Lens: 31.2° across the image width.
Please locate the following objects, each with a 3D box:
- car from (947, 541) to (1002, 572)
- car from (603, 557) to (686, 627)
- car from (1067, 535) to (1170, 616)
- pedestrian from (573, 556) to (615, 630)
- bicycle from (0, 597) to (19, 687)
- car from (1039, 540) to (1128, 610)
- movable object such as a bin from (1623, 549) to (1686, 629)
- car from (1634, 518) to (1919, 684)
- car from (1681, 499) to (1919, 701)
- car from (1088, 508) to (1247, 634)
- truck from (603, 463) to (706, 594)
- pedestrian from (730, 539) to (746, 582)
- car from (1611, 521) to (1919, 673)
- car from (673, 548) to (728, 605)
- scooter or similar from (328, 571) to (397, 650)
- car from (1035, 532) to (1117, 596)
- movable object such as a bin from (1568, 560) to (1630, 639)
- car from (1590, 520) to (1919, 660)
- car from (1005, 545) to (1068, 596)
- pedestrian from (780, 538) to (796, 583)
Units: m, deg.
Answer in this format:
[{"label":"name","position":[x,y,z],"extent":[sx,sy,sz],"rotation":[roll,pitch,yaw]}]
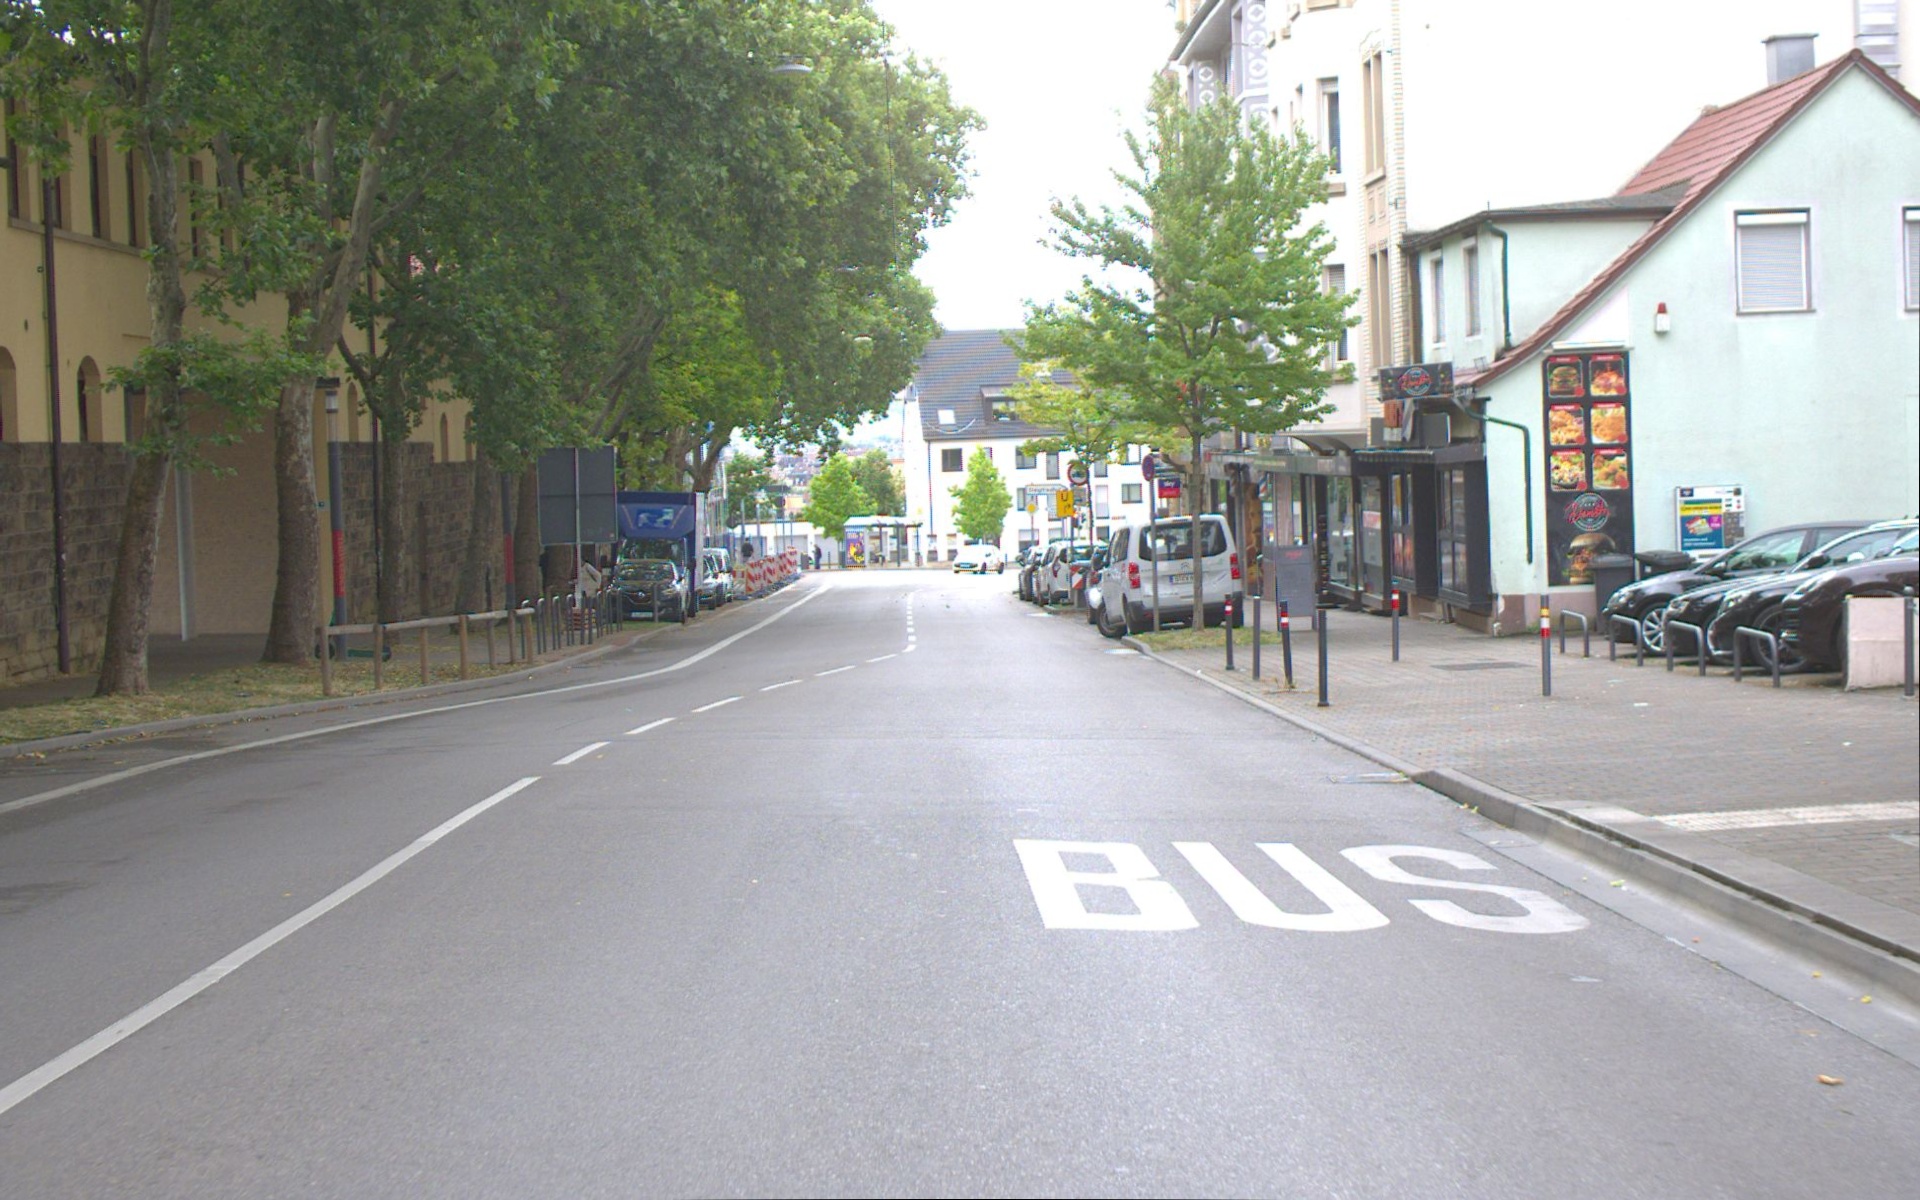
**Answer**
[{"label":"car","position":[0.741,-2.227,175.143],"extent":[1.865,1.484,3.877],"rotation":[-1,1,14]},{"label":"car","position":[-7.596,-0.213,83.037],"extent":[1.834,1.572,3.757],"rotation":[-2,1,-3]},{"label":"car","position":[3.191,-0.520,69.830],"extent":[1.668,1.542,3.757],"rotation":[-2,1,-3]},{"label":"pedestrian","position":[-7.700,-0.147,72.347],"extent":[0.672,1.531,0.611],"rotation":[-2,1,-26]},{"label":"bicycle","position":[-12.156,0.529,42.146],"extent":[0.596,1.087,2.195],"rotation":[1,1,1]},{"label":"car","position":[2.852,-0.604,80.017],"extent":[1.668,1.542,3.757],"rotation":[-2,1,-3]},{"label":"movable object such as a bin","position":[9.363,-0.153,46.341],"extent":[0.698,1.038,0.645],"rotation":[-2,1,1]},{"label":"car","position":[9.209,-0.019,33.163],"extent":[4.910,1.535,1.997],"rotation":[-1,1,28]},{"label":"car","position":[9.123,-0.095,30.466],"extent":[4.909,1.667,1.997],"rotation":[-3,1,27]},{"label":"car","position":[3.364,-0.509,56.634],"extent":[1.993,1.929,4.920],"rotation":[-2,1,-3]},{"label":"truck","position":[-8.173,-1.922,92.622],"extent":[2.231,3.335,7.450],"rotation":[-2,1,-2]},{"label":"pedestrian","position":[-10.483,-1.876,162.394],"extent":[0.633,1.988,0.784],"rotation":[-2,1,1]},{"label":"car","position":[9.412,-0.057,35.650],"extent":[4.909,1.488,1.853],"rotation":[-1,1,25]},{"label":"car","position":[-7.828,-0.729,103.913],"extent":[1.533,1.633,3.719],"rotation":[-2,1,-3]},{"label":"scooter or similar","position":[-9.308,0.158,53.559],"extent":[1.028,1.180,0.491],"rotation":[-2,1,-10]},{"label":"car","position":[2.888,-0.918,86.472],"extent":[1.668,1.542,3.757],"rotation":[-2,1,-3]},{"label":"movable object such as a bin","position":[8.609,-0.013,46.298],"extent":[0.698,1.038,0.645],"rotation":[-2,1,1]},{"label":"car","position":[9.702,-0.130,38.282],"extent":[4.909,1.464,1.927],"rotation":[-1,1,26]},{"label":"car","position":[2.444,-0.965,110.248],"extent":[1.668,1.542,3.757],"rotation":[-2,1,-3]},{"label":"pedestrian","position":[-7.812,-1.798,155.905],"extent":[0.633,2.007,0.784],"rotation":[-2,1,1]}]
